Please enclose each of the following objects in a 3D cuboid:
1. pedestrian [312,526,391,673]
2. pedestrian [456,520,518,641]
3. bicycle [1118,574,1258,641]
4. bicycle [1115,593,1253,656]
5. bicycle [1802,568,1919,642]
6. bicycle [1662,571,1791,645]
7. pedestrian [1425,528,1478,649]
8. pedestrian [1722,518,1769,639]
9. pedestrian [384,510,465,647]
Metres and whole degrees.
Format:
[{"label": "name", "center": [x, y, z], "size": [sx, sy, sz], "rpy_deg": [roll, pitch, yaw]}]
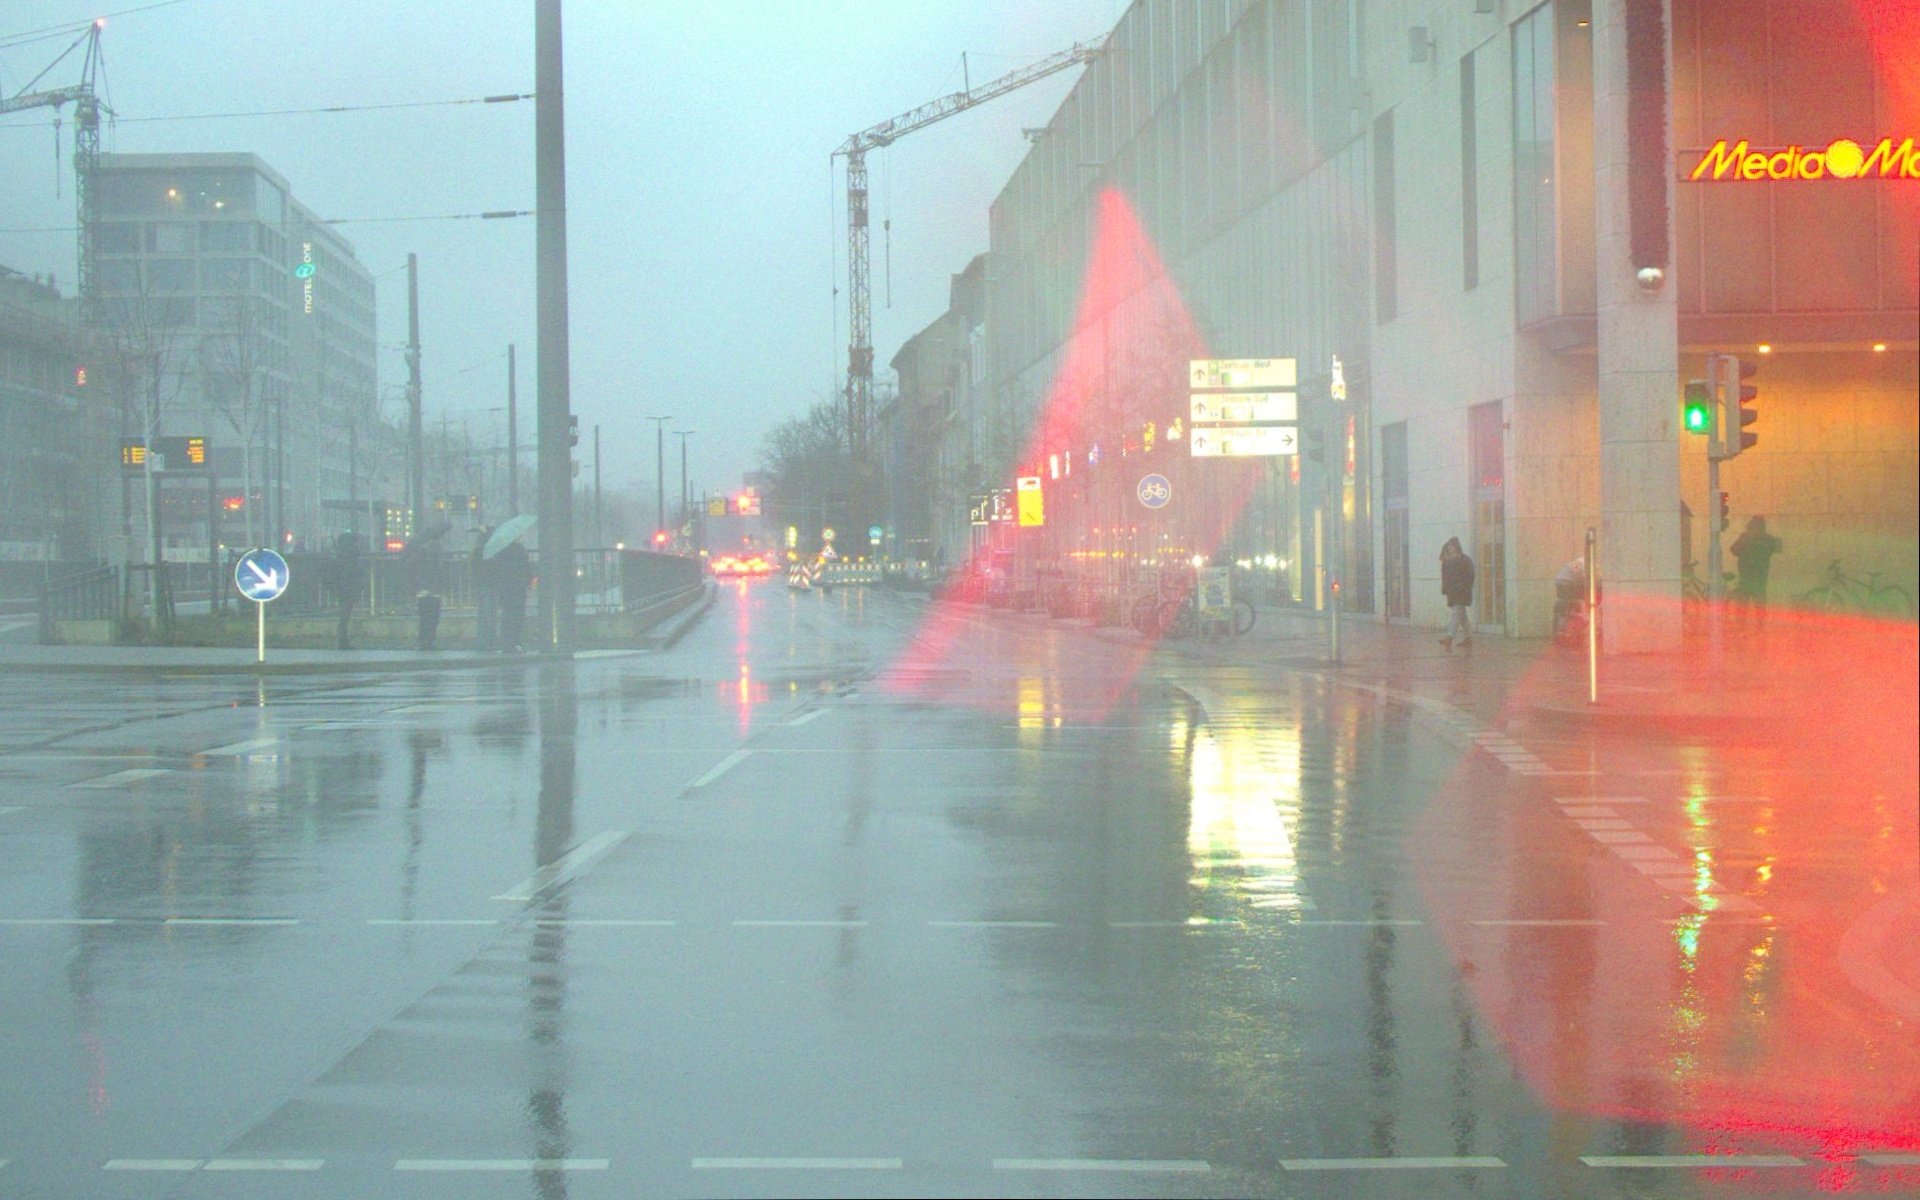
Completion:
[{"label": "pedestrian", "center": [-8.398, -0.007, 47.433], "size": [0.785, 2.007, 0.726], "rpy_deg": [1, 1, 42]}, {"label": "pedestrian", "center": [-6.595, -0.273, 47.960], "size": [0.612, 1.680, 0.577], "rpy_deg": [1, 1, 42]}, {"label": "bicycle", "center": [4.077, 0.139, 61.602], "size": [2.442, 1.150, 0.674], "rpy_deg": [-1, 0, -1]}, {"label": "bicycle", "center": [4.051, 0.435, 62.346], "size": [2.425, 1.095, 0.712], "rpy_deg": [-1, 0, -2]}, {"label": "bicycle", "center": [13.352, 0.073, 50.822], "size": [1.646, 1.066, 0.525], "rpy_deg": [1, 0, -4]}, {"label": "bicycle", "center": [11.297, 0.114, 50.688], "size": [1.767, 1.066, 0.525], "rpy_deg": [1, 0, -8]}, {"label": "pedestrian", "center": [7.015, -0.171, 49.074], "size": [0.636, 1.703, 0.573], "rpy_deg": [-1, 0, -1]}, {"label": "pedestrian", "center": [11.393, -0.320, 49.888], "size": [0.600, 1.739, 0.524], "rpy_deg": [1, 0, 8]}, {"label": "pedestrian", "center": [-7.226, -0.294, 46.408], "size": [0.821, 1.825, 0.786], "rpy_deg": [1, 0, -31]}]
